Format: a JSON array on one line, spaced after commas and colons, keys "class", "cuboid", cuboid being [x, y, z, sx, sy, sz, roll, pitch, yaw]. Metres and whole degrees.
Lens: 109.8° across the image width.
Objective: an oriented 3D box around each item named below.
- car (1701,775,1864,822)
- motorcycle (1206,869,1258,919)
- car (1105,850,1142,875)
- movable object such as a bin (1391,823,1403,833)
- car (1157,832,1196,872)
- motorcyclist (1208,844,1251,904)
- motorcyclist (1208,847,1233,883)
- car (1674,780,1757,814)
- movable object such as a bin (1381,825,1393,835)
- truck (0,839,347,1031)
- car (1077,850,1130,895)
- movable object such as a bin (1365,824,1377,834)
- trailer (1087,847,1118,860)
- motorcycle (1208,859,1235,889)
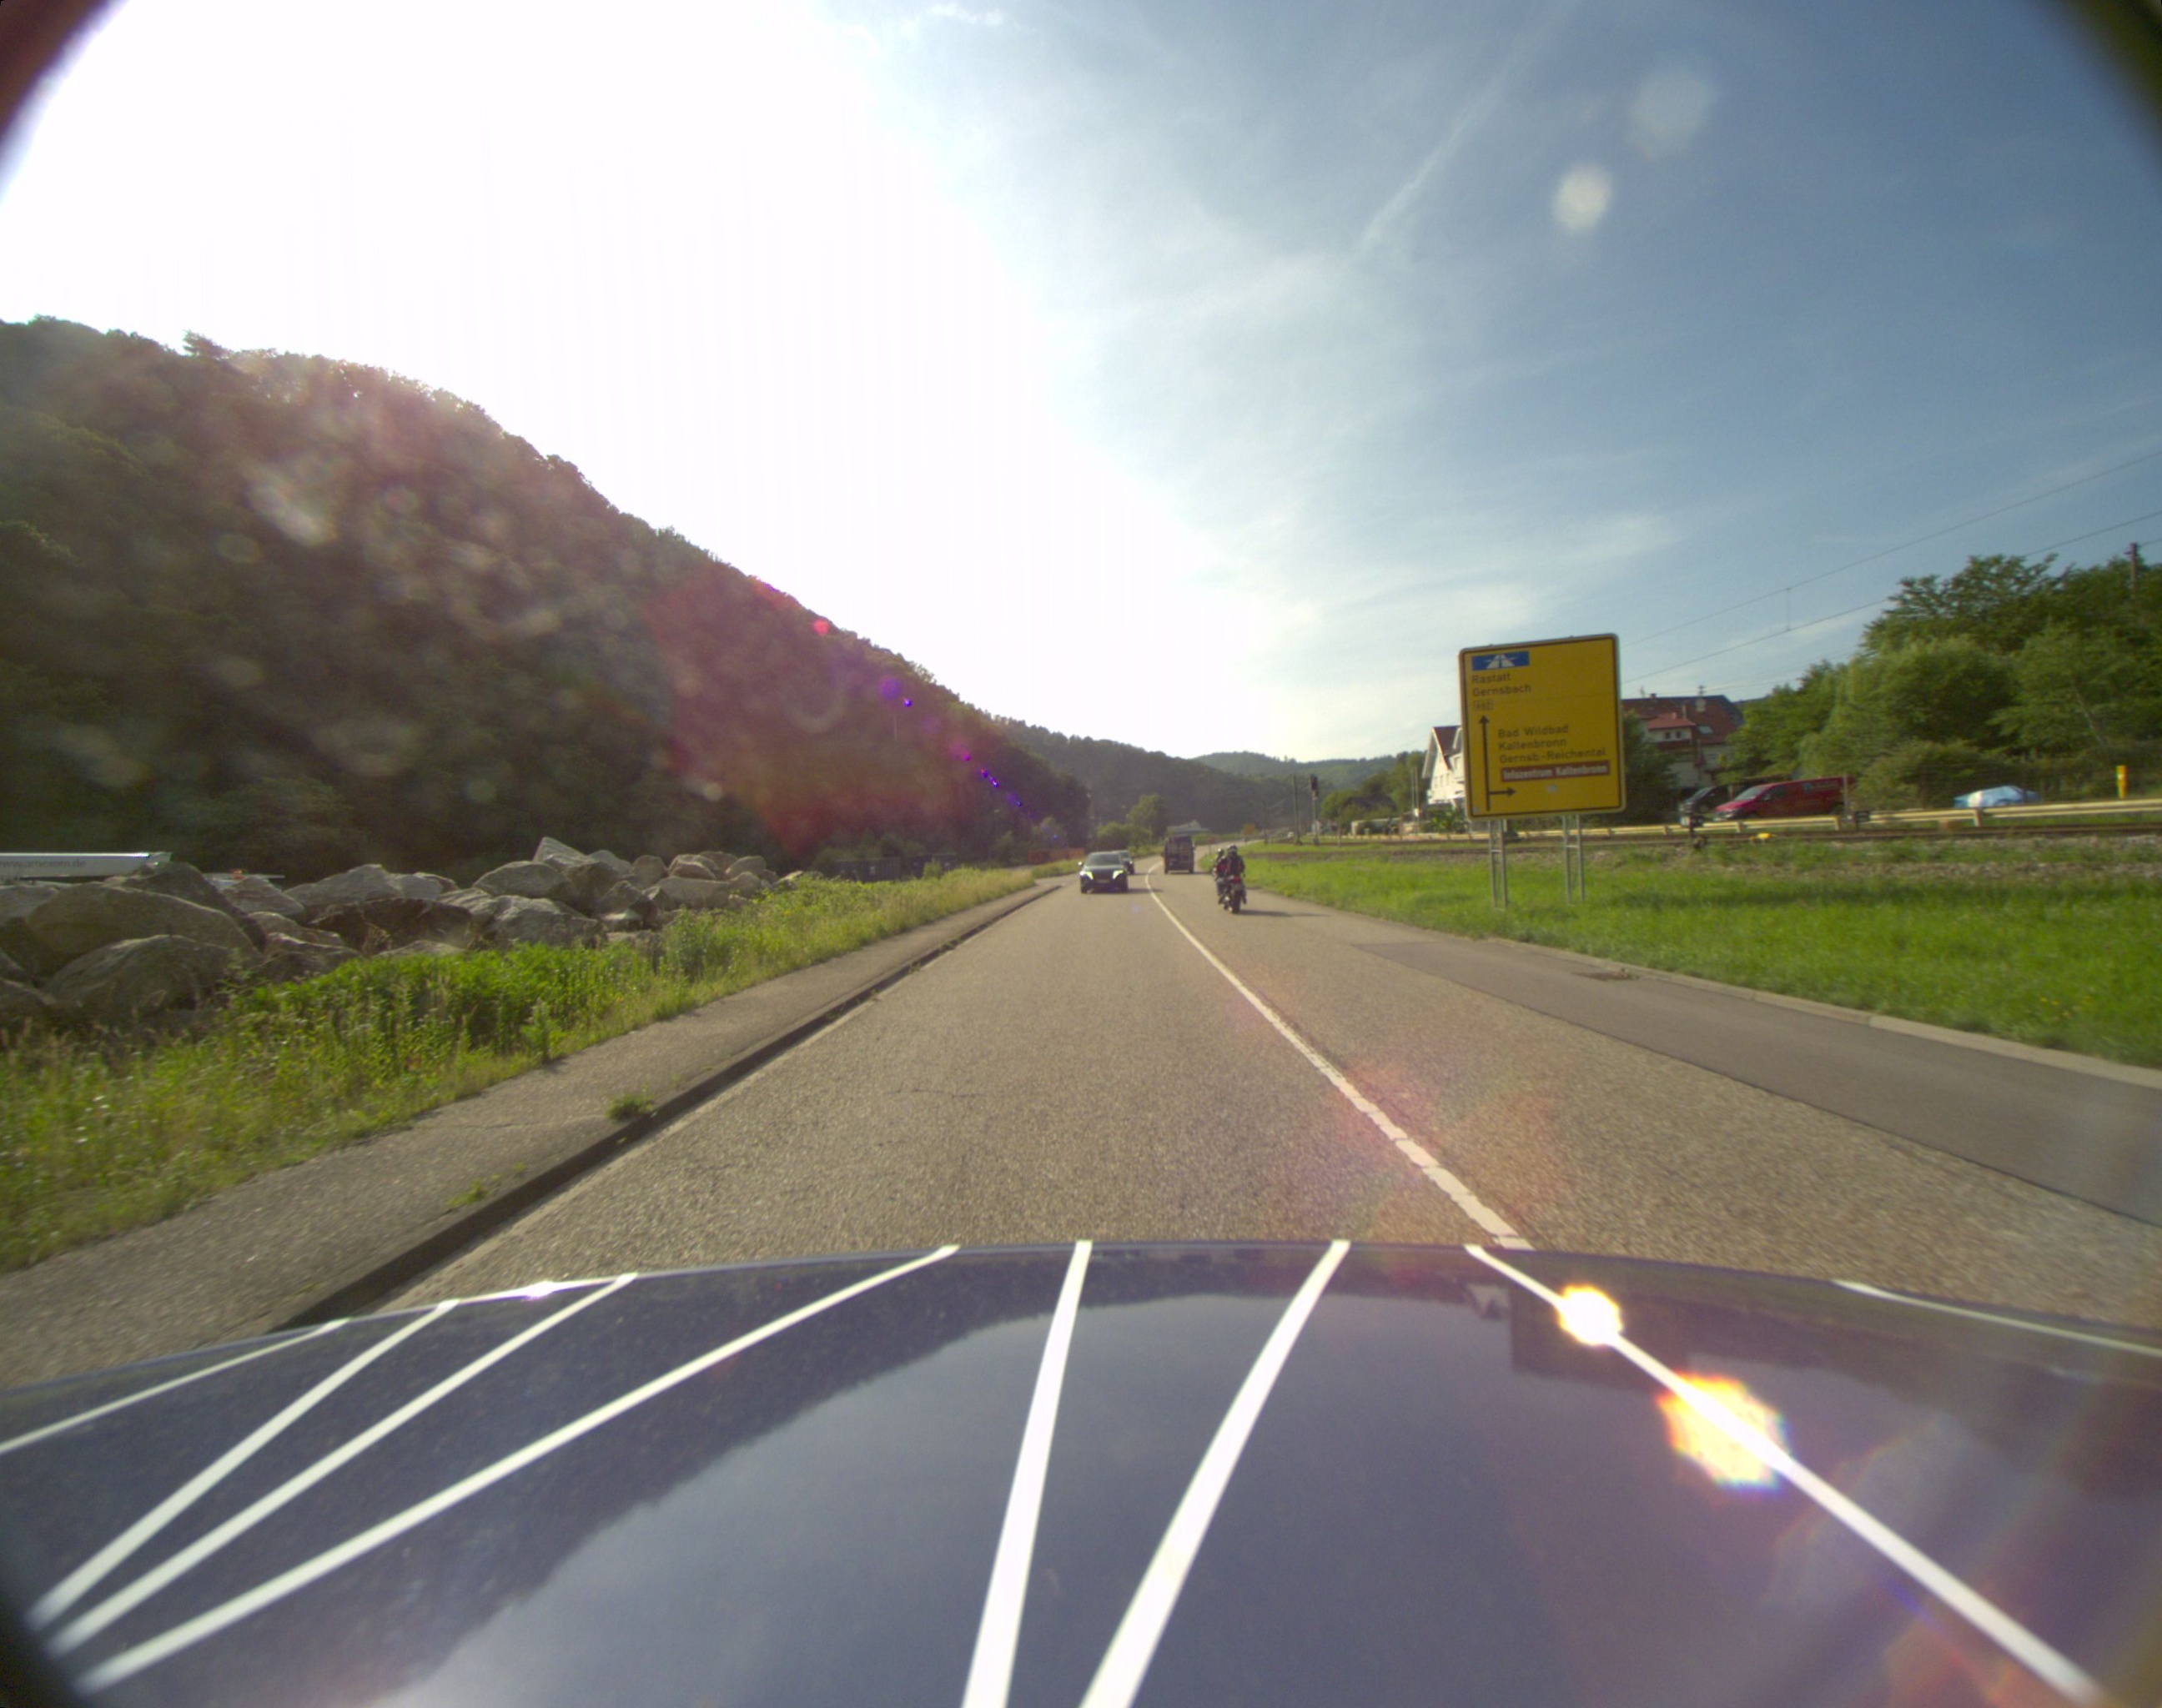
[{"class": "car", "cuboid": [32.342, -2.518, 35.231, 4.973, 1.682, 2.457, -4, 1, 12]}, {"class": "motorcycle", "cuboid": [3.701, 0.951, 18.795, 0.864, 1.123, 2.126, -2, 0, 2]}, {"class": "car", "cuboid": [3.000, 0.550, 52.897, 1.917, 1.455, 4.003, -4, 1, 12]}, {"class": "movable object such as a bin", "cuboid": [39.166, -3.175, 94.157, 1.091, 1.185, 1.144, -4, 1, 10]}, {"class": "car", "cuboid": [6.487, -0.143, 52.254, 2.132, 2.600, 5.480, -1, 0, 2]}, {"class": "motorcyclist", "cuboid": [3.686, 0.492, 18.874, 0.845, 1.414, 0.964, -2, 0, 1]}, {"class": "motorcyclist", "cuboid": [5.653, 0.443, 30.812, 0.845, 1.414, 0.964, -2, 0, 4]}, {"class": "car", "cuboid": [44.485, -3.960, 53.345, 3.994, 1.780, 1.821, -7, 0, 13]}, {"class": "movable object such as a bin", "cuboid": [38.041, -3.008, 94.328, 1.091, 1.185, 1.144, -4, 1, 10]}, {"class": "truck", "cuboid": [-22.553, 1.670, 17.001, 3.110, 3.760, 8.646, -4, 1, 5]}, {"class": "car", "cuboid": [1.053, 0.709, 32.113, 1.998, 1.661, 5.511, -2, 0, 4]}, {"class": "movable object such as a bin", "cuboid": [40.434, -3.495, 105.954, 1.142, 1.185, 1.093, -4, 1, 5]}, {"class": "trailer", "cuboid": [3.269, -0.125, 112.068, 2.797, 1.466, 9.893, -6, 0, 11]}, {"class": "motorcycle", "cuboid": [5.665, 0.781, 30.781, 0.864, 1.123, 1.969, -2, 0, 5]}]
